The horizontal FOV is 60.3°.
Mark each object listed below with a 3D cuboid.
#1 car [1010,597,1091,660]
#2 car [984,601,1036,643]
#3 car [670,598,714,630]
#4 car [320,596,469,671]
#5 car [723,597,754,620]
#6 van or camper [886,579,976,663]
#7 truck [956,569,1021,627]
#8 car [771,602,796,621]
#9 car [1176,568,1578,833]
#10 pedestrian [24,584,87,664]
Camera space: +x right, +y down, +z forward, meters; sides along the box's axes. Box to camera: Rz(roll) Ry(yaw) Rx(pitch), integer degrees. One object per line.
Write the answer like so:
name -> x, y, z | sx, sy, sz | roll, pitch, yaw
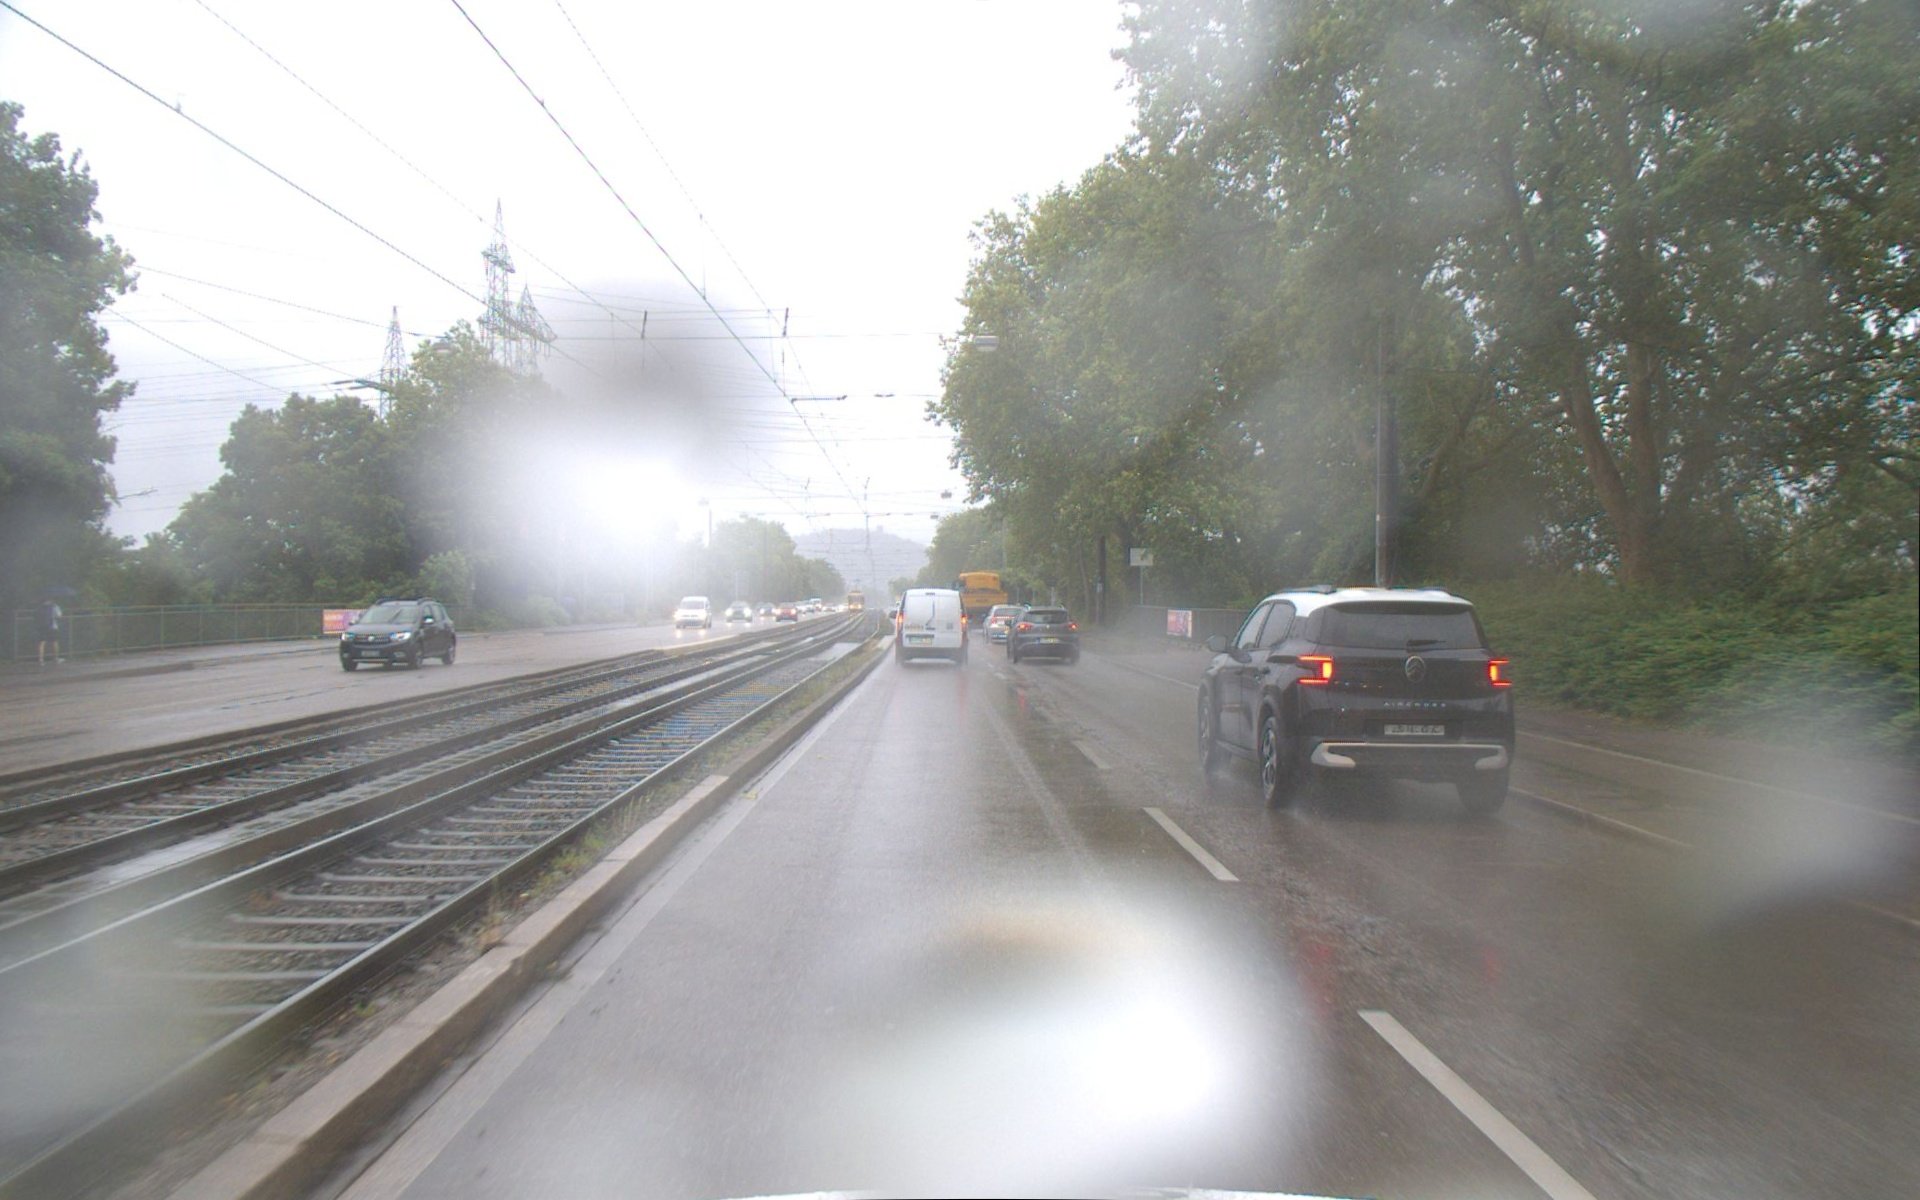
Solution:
car -> 2.269, 0.698, 42.238 | 1.781, 1.438, 3.778 | 1, 1, -1
car -> 1.874, 0.817, 62.407 | 1.781, 1.438, 3.778 | 1, 1, -1
car -> -15.717, 0.800, 97.221 | 1.953, 1.847, 4.657 | 0, 0, -2
car -> -13.079, 0.735, 38.532 | 1.952, 1.646, 4.253 | 0, 0, 0
car -> -17.786, 0.685, 132.852 | 1.953, 1.847, 4.000 | 0, 0, 0
van or camper -> -0.750, 0.461, 39.777 | 1.954, 1.815, 3.998 | 2, 1, -4
truck -> 1.393, -0.106, 84.899 | 3.050, 2.821, 6.327 | 1, 0, -2
car -> -14.383, 0.923, 135.065 | 1.623, 1.512, 4.013 | 0, 0, 0
car -> 3.110, 0.639, 13.452 | 1.861, 1.746, 4.723 | 1, 1, -3
pedestrian -> -20.645, 0.539, 37.772 | 0.834, 1.790, 1.120 | -1, 0, -1
